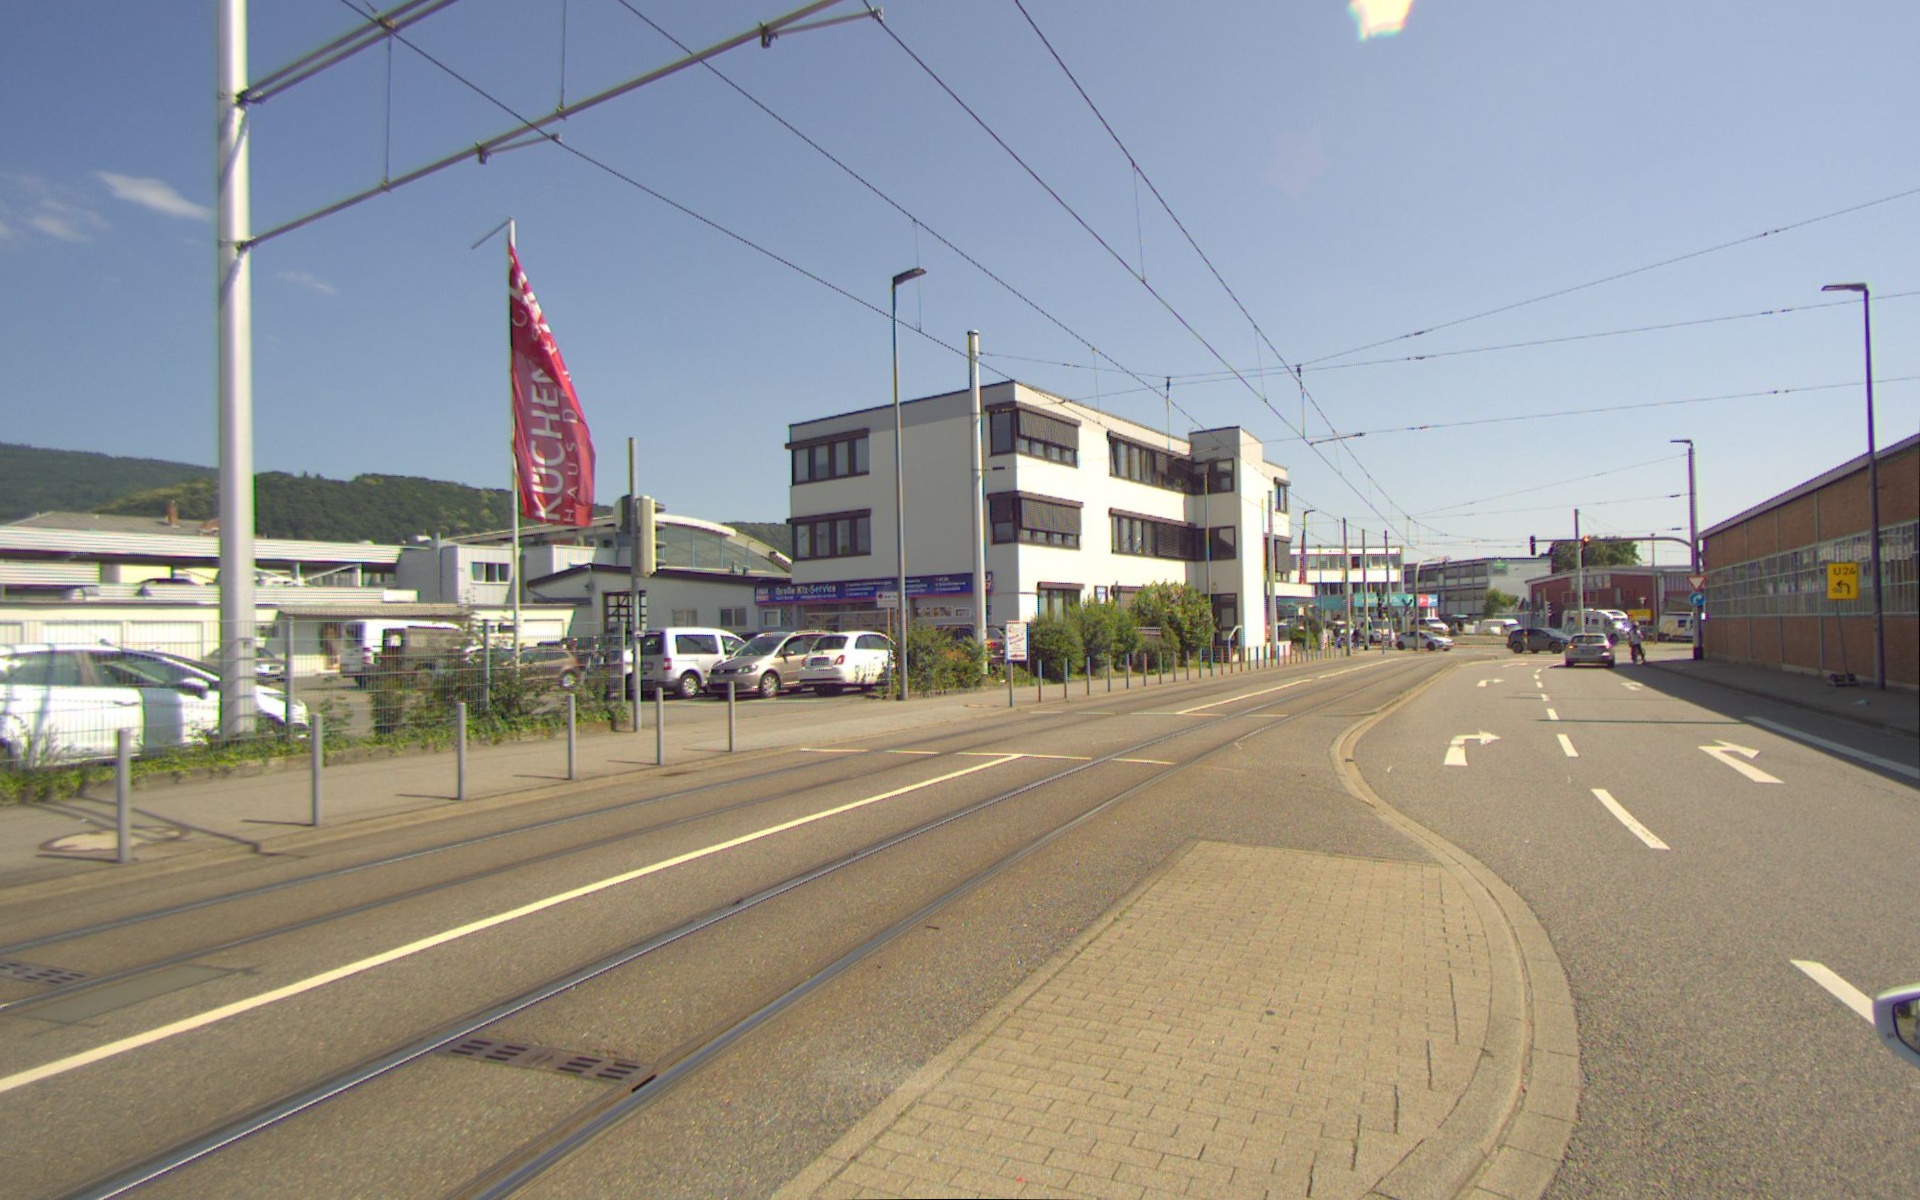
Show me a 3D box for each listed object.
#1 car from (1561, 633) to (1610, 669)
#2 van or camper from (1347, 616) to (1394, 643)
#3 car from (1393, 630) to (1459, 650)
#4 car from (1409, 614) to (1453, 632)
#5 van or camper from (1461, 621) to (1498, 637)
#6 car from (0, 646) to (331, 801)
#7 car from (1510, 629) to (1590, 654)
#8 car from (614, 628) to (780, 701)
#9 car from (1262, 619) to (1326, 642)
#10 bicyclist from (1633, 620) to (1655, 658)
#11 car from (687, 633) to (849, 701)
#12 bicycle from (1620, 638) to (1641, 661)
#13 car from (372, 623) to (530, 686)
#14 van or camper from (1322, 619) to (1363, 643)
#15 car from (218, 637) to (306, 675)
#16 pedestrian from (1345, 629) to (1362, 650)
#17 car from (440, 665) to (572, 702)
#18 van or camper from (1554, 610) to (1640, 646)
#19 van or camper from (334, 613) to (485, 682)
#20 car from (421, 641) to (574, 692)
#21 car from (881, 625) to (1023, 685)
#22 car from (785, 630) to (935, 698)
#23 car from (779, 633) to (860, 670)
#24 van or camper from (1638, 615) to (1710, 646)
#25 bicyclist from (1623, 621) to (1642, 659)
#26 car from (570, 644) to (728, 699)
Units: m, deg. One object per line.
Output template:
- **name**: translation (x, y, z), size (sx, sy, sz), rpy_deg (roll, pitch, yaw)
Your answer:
- **car**: translation (27.483, 2.207, 44.080), size (1.722, 1.478, 3.989), rpy_deg (-2, -2, 33)
- **van or camper**: translation (38.678, 2.727, 94.778), size (1.998, 2.327, 5.812), rpy_deg (-1, 0, 0)
- **car**: translation (34.107, 2.939, 73.629), size (1.781, 1.393, 4.174), rpy_deg (0, -2, -29)
- **car**: translation (49.035, 2.434, 104.657), size (1.907, 1.782, 5.121), rpy_deg (-1, -2, -3)
- **van or camper**: translation (65.600, 3.623, 126.865), size (1.967, 1.973, 3.987), rpy_deg (0, -2, -16)
- **car**: translation (-9.421, 1.251, 11.012), size (1.682, 1.452, 3.949), rpy_deg (-1, -2, 28)
- **car**: translation (37.415, 2.633, 63.782), size (1.863, 1.528, 3.957), rpy_deg (1, -2, -38)
- **car**: translation (-6.989, 1.667, 27.039), size (1.968, 1.808, 3.985), rpy_deg (-2, -2, 37)
- **car**: translation (23.730, 2.144, 71.294), size (3.932, 1.539, 1.994), rpy_deg (-1, 0, 33)
- **bicyclist**: translation (31.747, 1.810, 46.653), size (0.775, 1.744, 1.144), rpy_deg (-1, -2, 33)
- **car**: translation (-4.867, 1.662, 25.909), size (1.827, 1.588, 3.921), rpy_deg (-2, -2, 36)
- **bicycle**: translation (31.414, 2.298, 47.058), size (0.783, 1.035, 2.145), rpy_deg (-1, -2, 33)
- **car**: translation (-17.844, 1.866, 35.398), size (2.024, 2.040, 4.566), rpy_deg (-2, -2, 35)
- **van or camper**: translation (36.108, 2.909, 95.050), size (1.961, 2.040, 5.010), rpy_deg (-1, 0, 0)
- **car**: translation (-28.380, 2.260, 40.810), size (3.941, 1.435, 1.990), rpy_deg (-2, -2, 40)
- **pedestrian**: translation (28.717, 2.901, 73.345), size (1.111, 1.474, 0.838), rpy_deg (-2, -2, 21)
- **car**: translation (-14.427, 2.627, 32.059), size (1.722, 0.996, 3.475), rpy_deg (-2, -2, 37)
- **van or camper**: translation (57.272, 2.438, 90.516), size (2.313, 2.970, 6.970), rpy_deg (-2, 0, -12)
- **van or camper**: translation (-20.049, 1.679, 36.784), size (1.751, 2.336, 4.590), rpy_deg (-1, -2, 33)
- **car**: translation (-15.759, 2.233, 34.427), size (1.959, 1.578, 4.411), rpy_deg (-2, -3, 35)
- **car**: translation (-0.265, 1.666, 30.948), size (3.931, 1.728, 1.996), rpy_deg (-2, -2, 32)
- **car**: translation (-2.459, 1.561, 25.487), size (1.713, 1.562, 3.823), rpy_deg (-2, -2, 35)
- **car**: translation (-5.744, 2.081, 41.250), size (1.401, 1.445, 3.116), rpy_deg (-3, -3, 41)
- **van or camper**: translation (63.605, 2.685, 89.601), size (2.246, 2.473, 5.380), rpy_deg (-2, 2, -6)
- **bicyclist**: translation (32.690, 1.944, 48.824), size (0.698, 1.834, 0.980), rpy_deg (-1, -2, 32)
- **car**: translation (-8.742, 1.986, 28.504), size (1.818, 1.376, 3.985), rpy_deg (-2, -2, 37)
